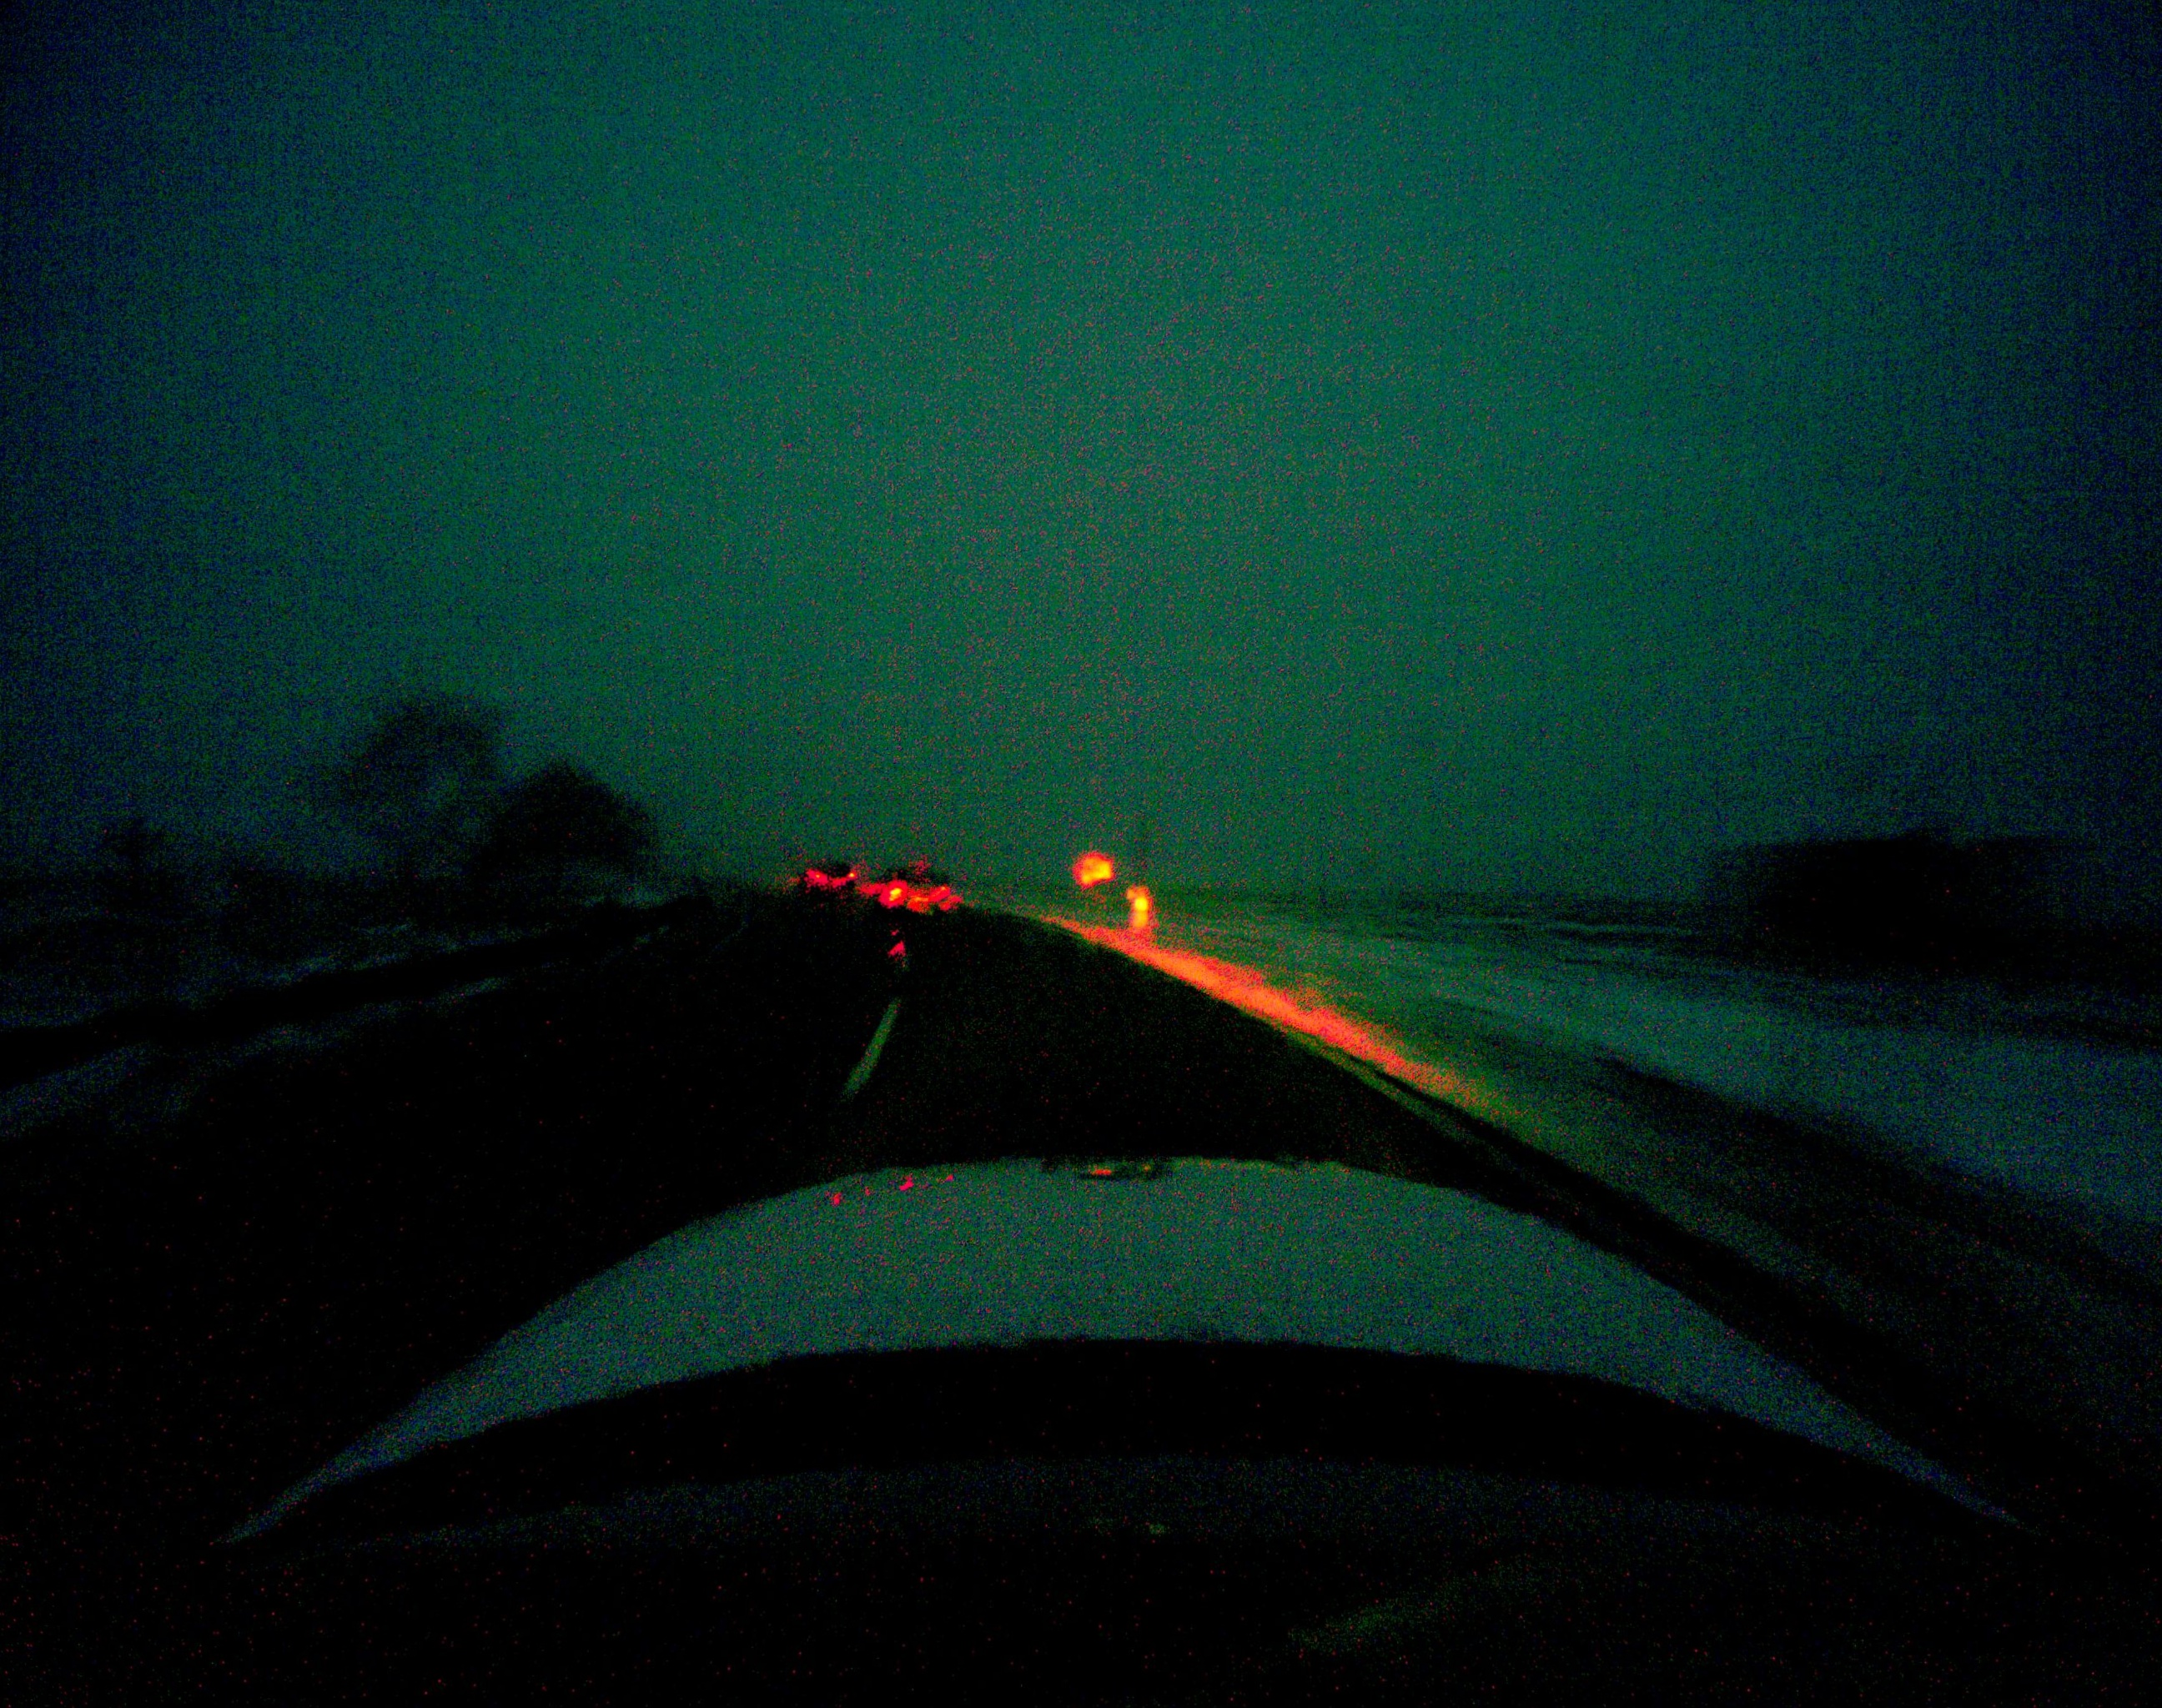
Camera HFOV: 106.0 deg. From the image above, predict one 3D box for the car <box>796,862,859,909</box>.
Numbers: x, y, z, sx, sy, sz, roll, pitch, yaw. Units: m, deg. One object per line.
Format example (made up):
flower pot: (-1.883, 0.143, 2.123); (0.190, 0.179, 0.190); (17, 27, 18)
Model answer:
car: (-10.669, 1.291, 34.106); (2.003, 1.783, 3.966); (-1, -2, -25)

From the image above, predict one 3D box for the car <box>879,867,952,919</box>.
car: (-4.979, 1.117, 24.318); (1.948, 1.381, 3.982); (-1, -1, -13)
